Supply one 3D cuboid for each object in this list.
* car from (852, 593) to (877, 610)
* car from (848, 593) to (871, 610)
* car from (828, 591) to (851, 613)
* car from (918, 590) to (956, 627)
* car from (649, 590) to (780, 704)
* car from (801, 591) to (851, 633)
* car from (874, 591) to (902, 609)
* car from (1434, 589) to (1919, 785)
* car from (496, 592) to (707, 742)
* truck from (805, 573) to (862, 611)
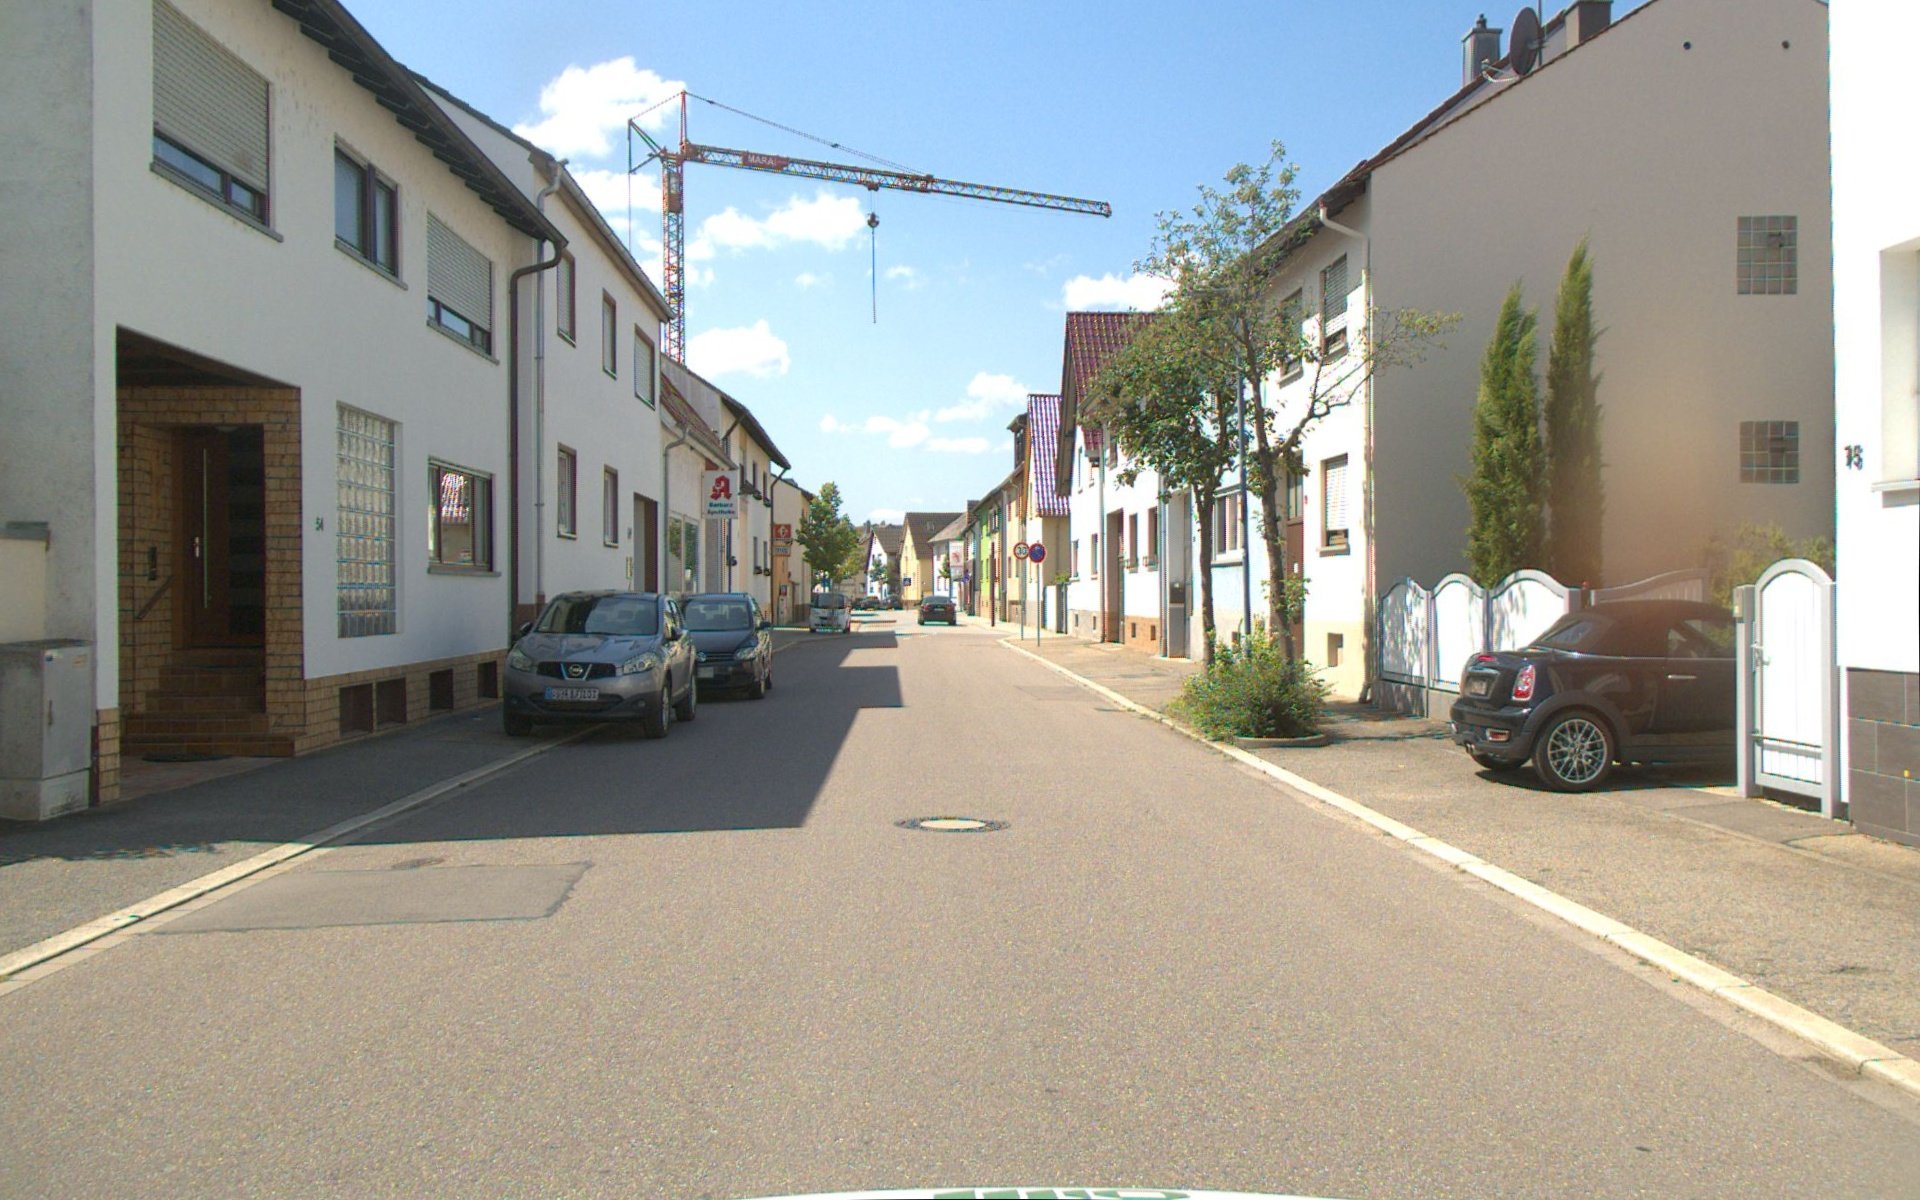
[{"bbox_3d":[-10.523,0.198,181.609,1.793,1.784,4.207,-1,0,-18],"label":"car"},{"bbox_3d":[-11.550,0.178,189.373,1.791,1.784,4.212,-1,0,-15],"label":"car"},{"bbox_3d":[-9.784,0.187,134.139,1.701,1.716,4.227,2,0,-6],"label":"car"},{"bbox_3d":[-1.190,0.440,83.618,1.747,1.784,3.997,-1,0,-3],"label":"car"},{"bbox_3d":[-3.783,0.668,26.053,1.620,1.637,4.059,-1,0,-3],"label":"car"},{"bbox_3d":[-5.265,0.457,65.412,1.688,1.583,4.171,1,0,-2],"label":"car"},{"bbox_3d":[-7.521,-0.005,172.124,1.756,1.784,4.206,-1,0,-19],"label":"car"},{"bbox_3d":[5.997,0.648,13.346,3.843,1.439,1.740,-1,0,-2],"label":"car"},{"bbox_3d":[-4.086,0.689,19.515,1.723,1.551,4.287,-1,0,-3],"label":"car"},{"bbox_3d":[-14.143,-0.833,183.270,3.325,3.933,13.860,-1,0,-17],"label":"truck"}]
